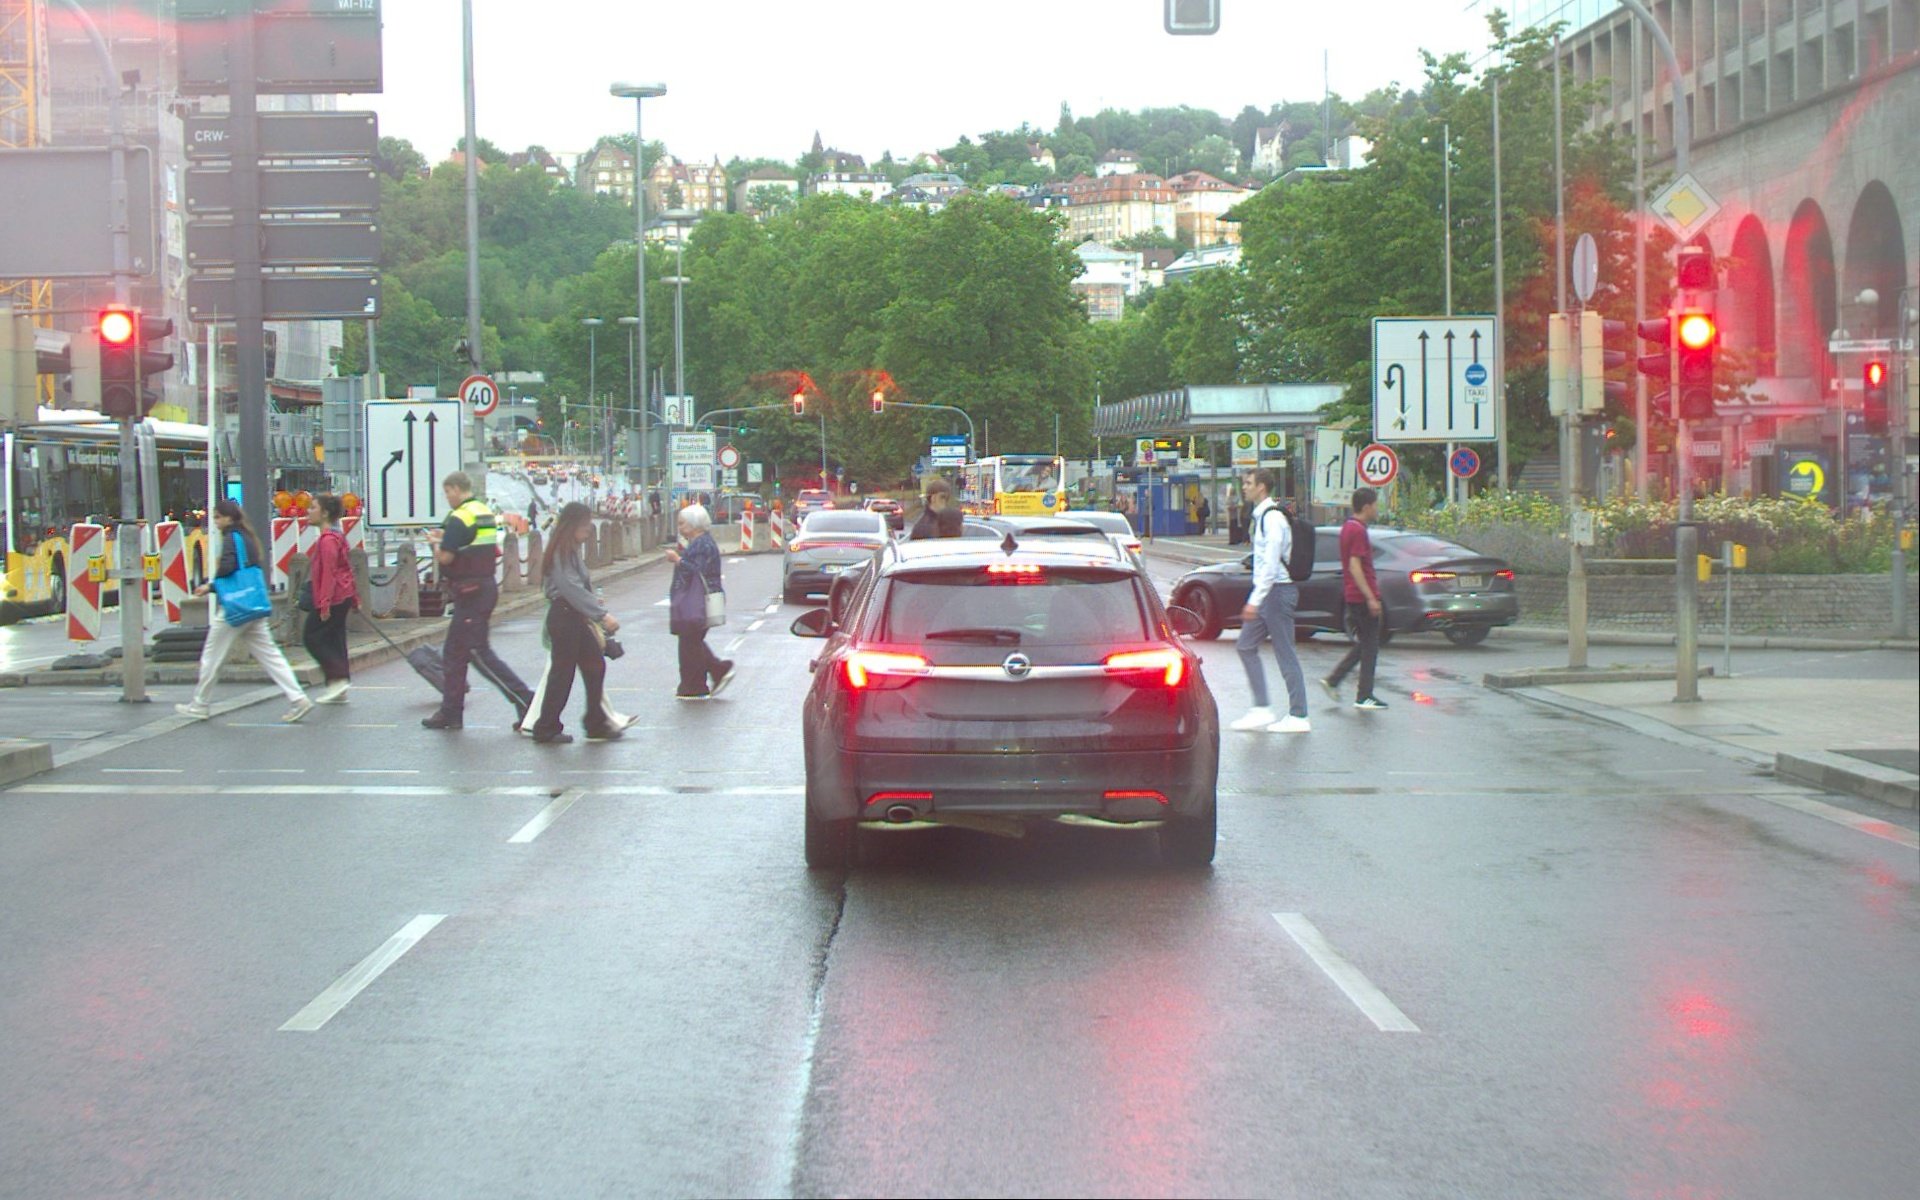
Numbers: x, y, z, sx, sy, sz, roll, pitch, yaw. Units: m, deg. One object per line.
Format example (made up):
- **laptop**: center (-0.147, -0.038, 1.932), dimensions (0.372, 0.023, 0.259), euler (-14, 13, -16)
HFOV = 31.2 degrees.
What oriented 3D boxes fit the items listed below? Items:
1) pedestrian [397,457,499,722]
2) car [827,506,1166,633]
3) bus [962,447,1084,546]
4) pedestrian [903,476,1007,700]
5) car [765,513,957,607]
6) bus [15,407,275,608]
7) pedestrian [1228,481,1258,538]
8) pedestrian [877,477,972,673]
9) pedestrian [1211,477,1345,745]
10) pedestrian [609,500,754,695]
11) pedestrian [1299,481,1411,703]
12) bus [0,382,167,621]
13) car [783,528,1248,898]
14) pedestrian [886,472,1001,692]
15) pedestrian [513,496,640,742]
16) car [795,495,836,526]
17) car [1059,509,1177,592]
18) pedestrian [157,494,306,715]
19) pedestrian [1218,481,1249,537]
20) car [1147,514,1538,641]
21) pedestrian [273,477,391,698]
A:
- **pedestrian**: center (-3.610, -0.078, 24.282), dimensions (0.578, 1.829, 0.820), euler (1, 1, 0)
- **car**: center (0.356, -0.383, 40.209), dimensions (1.753, 1.393, 4.538), euler (0, 1, -32)
- **bus**: center (2.231, -3.801, 129.189), dimensions (4.173, 3.457, 14.655), euler (1, 1, 0)
- **pedestrian**: center (-0.041, -0.095, 26.625), dimensions (0.755, 1.711, 0.466), euler (1, 1, -4)
- **car**: center (-1.507, -0.638, 54.116), dimensions (1.754, 1.393, 4.534), euler (1, 1, 15)
- **bus**: center (-15.680, -1.745, 66.935), dimensions (2.668, 3.589, 10.212), euler (1, 1, 0)
- **pedestrian**: center (8.451, -2.685, 102.701), dimensions (0.763, 1.684, 0.825), euler (1, 1, -4)
- **pedestrian**: center (-0.269, -0.189, 26.057), dimensions (0.678, 1.469, 0.366), euler (1, 1, -5)
- **pedestrian**: center (2.265, 0.074, 24.507), dimensions (0.798, 1.884, 0.620), euler (1, 1, -9)
- **pedestrian**: center (-2.267, -0.030, 27.989), dimensions (0.786, 1.555, 0.873), euler (1, 1, 35)
- **pedestrian**: center (3.145, -0.069, 27.377), dimensions (0.570, 1.746, 0.679), euler (1, 1, 43)
- **bus**: center (-15.598, -1.575, 56.750), dimensions (2.668, 3.589, 10.240), euler (1, 1, 0)
- **car**: center (0.197, 0.427, 15.982), dimensions (1.874, 1.481, 4.000), euler (1, 1, -1)
- **pedestrian**: center (-0.124, -0.136, 25.530), dimensions (0.799, 1.603, 0.620), euler (1, 1, -4)
- **pedestrian**: center (-2.578, 0.119, 23.212), dimensions (0.793, 1.620, 0.900), euler (1, 1, -4)
- **car**: center (-6.593, -4.089, 157.209), dimensions (1.759, 1.393, 3.564), euler (1, 1, 0)
- **car**: center (2.734, -0.870, 60.114), dimensions (1.845, 1.393, 3.564), euler (1, 1, 0)
- **pedestrian**: center (-5.257, 0.023, 24.851), dimensions (0.915, 1.558, 0.900), euler (1, 1, -4)
- **pedestrian**: center (8.254, -2.737, 103.763), dimensions (0.763, 1.684, 0.825), euler (1, 1, -4)
- **car**: center (4.419, -0.288, 40.215), dimensions (4.399, 1.393, 1.754), euler (2, 1, 45)
- **pedestrian**: center (-4.975, -0.103, 27.252), dimensions (0.799, 1.711, 0.620), euler (-2, 1, -4)
